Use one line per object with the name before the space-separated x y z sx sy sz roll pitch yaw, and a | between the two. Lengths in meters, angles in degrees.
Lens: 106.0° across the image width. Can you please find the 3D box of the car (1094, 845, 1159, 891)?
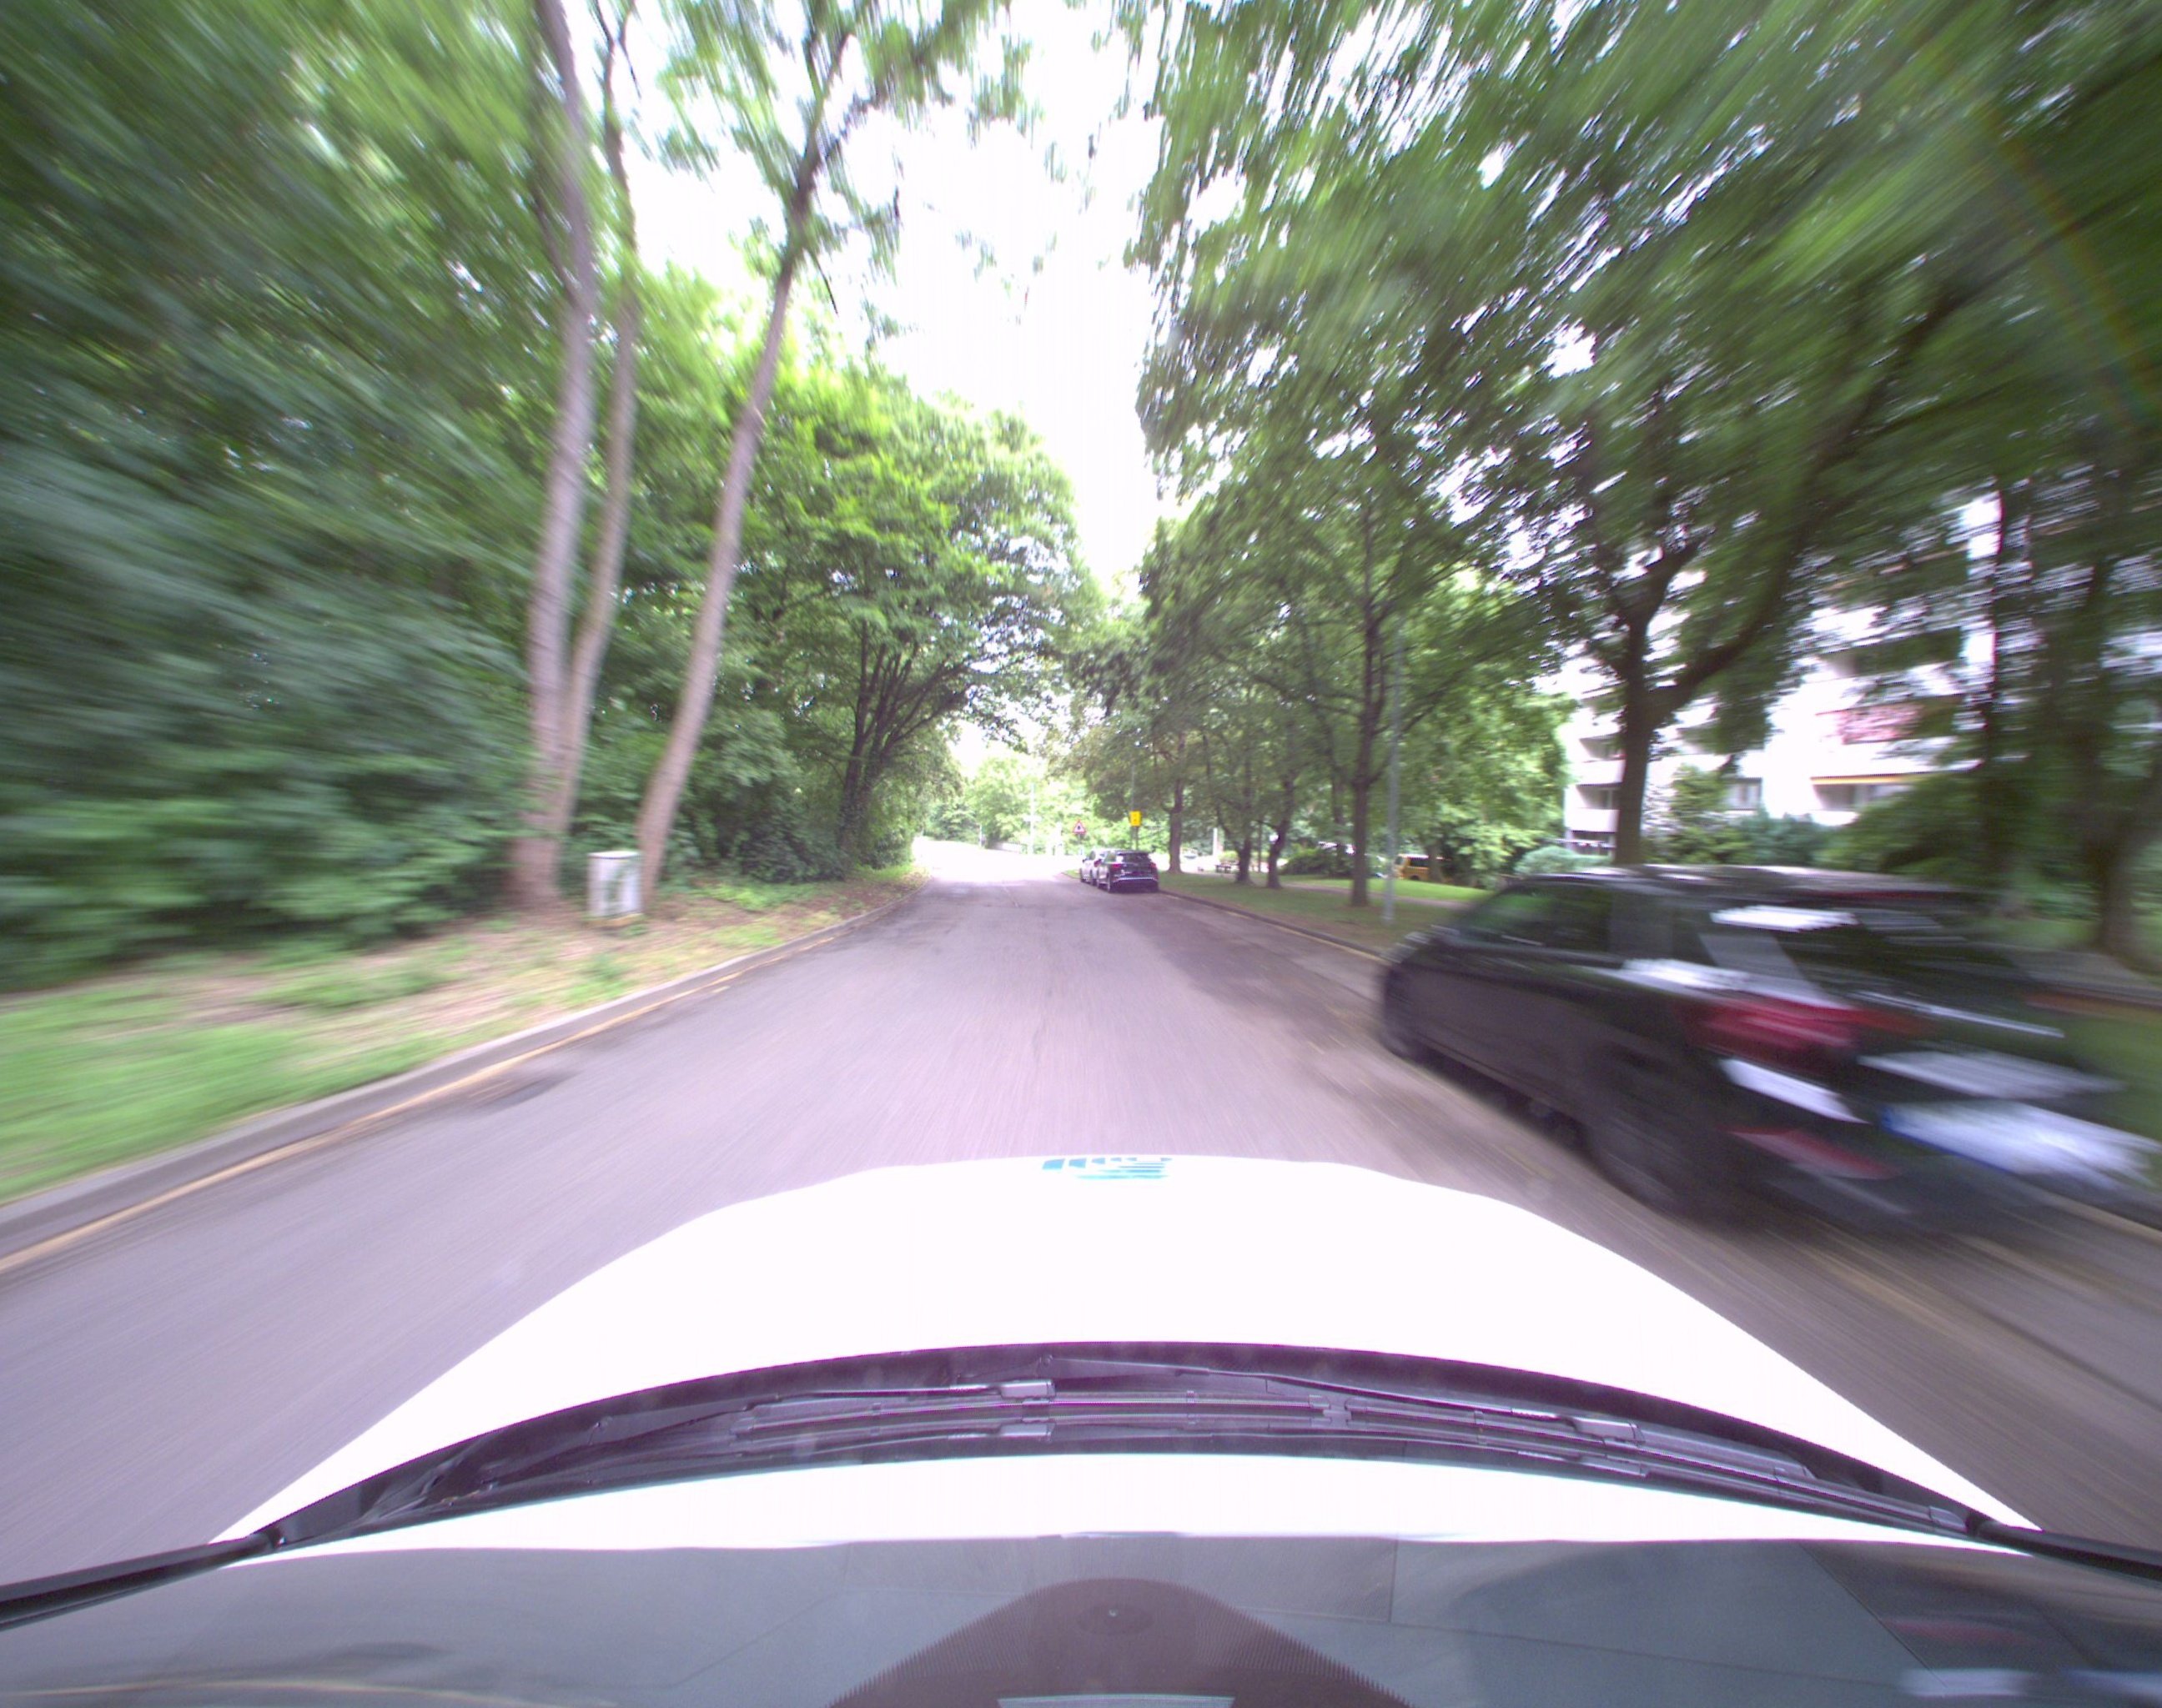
car | 1.613 0.463 30.102 1.771 1.522 4.175 1 1 -6

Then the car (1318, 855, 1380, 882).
car | 17.509 0.936 53.358 3.500 1.570 1.835 1 1 4

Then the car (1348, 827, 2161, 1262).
car | 3.105 0.627 4.794 1.677 1.464 3.895 -1 1 -2

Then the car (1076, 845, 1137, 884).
car | 1.021 0.398 34.469 1.775 1.522 3.766 1 1 -11

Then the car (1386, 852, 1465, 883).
car | 22.403 0.855 53.136 4.379 1.848 1.834 1 1 2

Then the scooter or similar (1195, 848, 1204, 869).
scooter or similar | 7.505 0.272 51.768 0.282 1.286 1.106 1 1 -6
